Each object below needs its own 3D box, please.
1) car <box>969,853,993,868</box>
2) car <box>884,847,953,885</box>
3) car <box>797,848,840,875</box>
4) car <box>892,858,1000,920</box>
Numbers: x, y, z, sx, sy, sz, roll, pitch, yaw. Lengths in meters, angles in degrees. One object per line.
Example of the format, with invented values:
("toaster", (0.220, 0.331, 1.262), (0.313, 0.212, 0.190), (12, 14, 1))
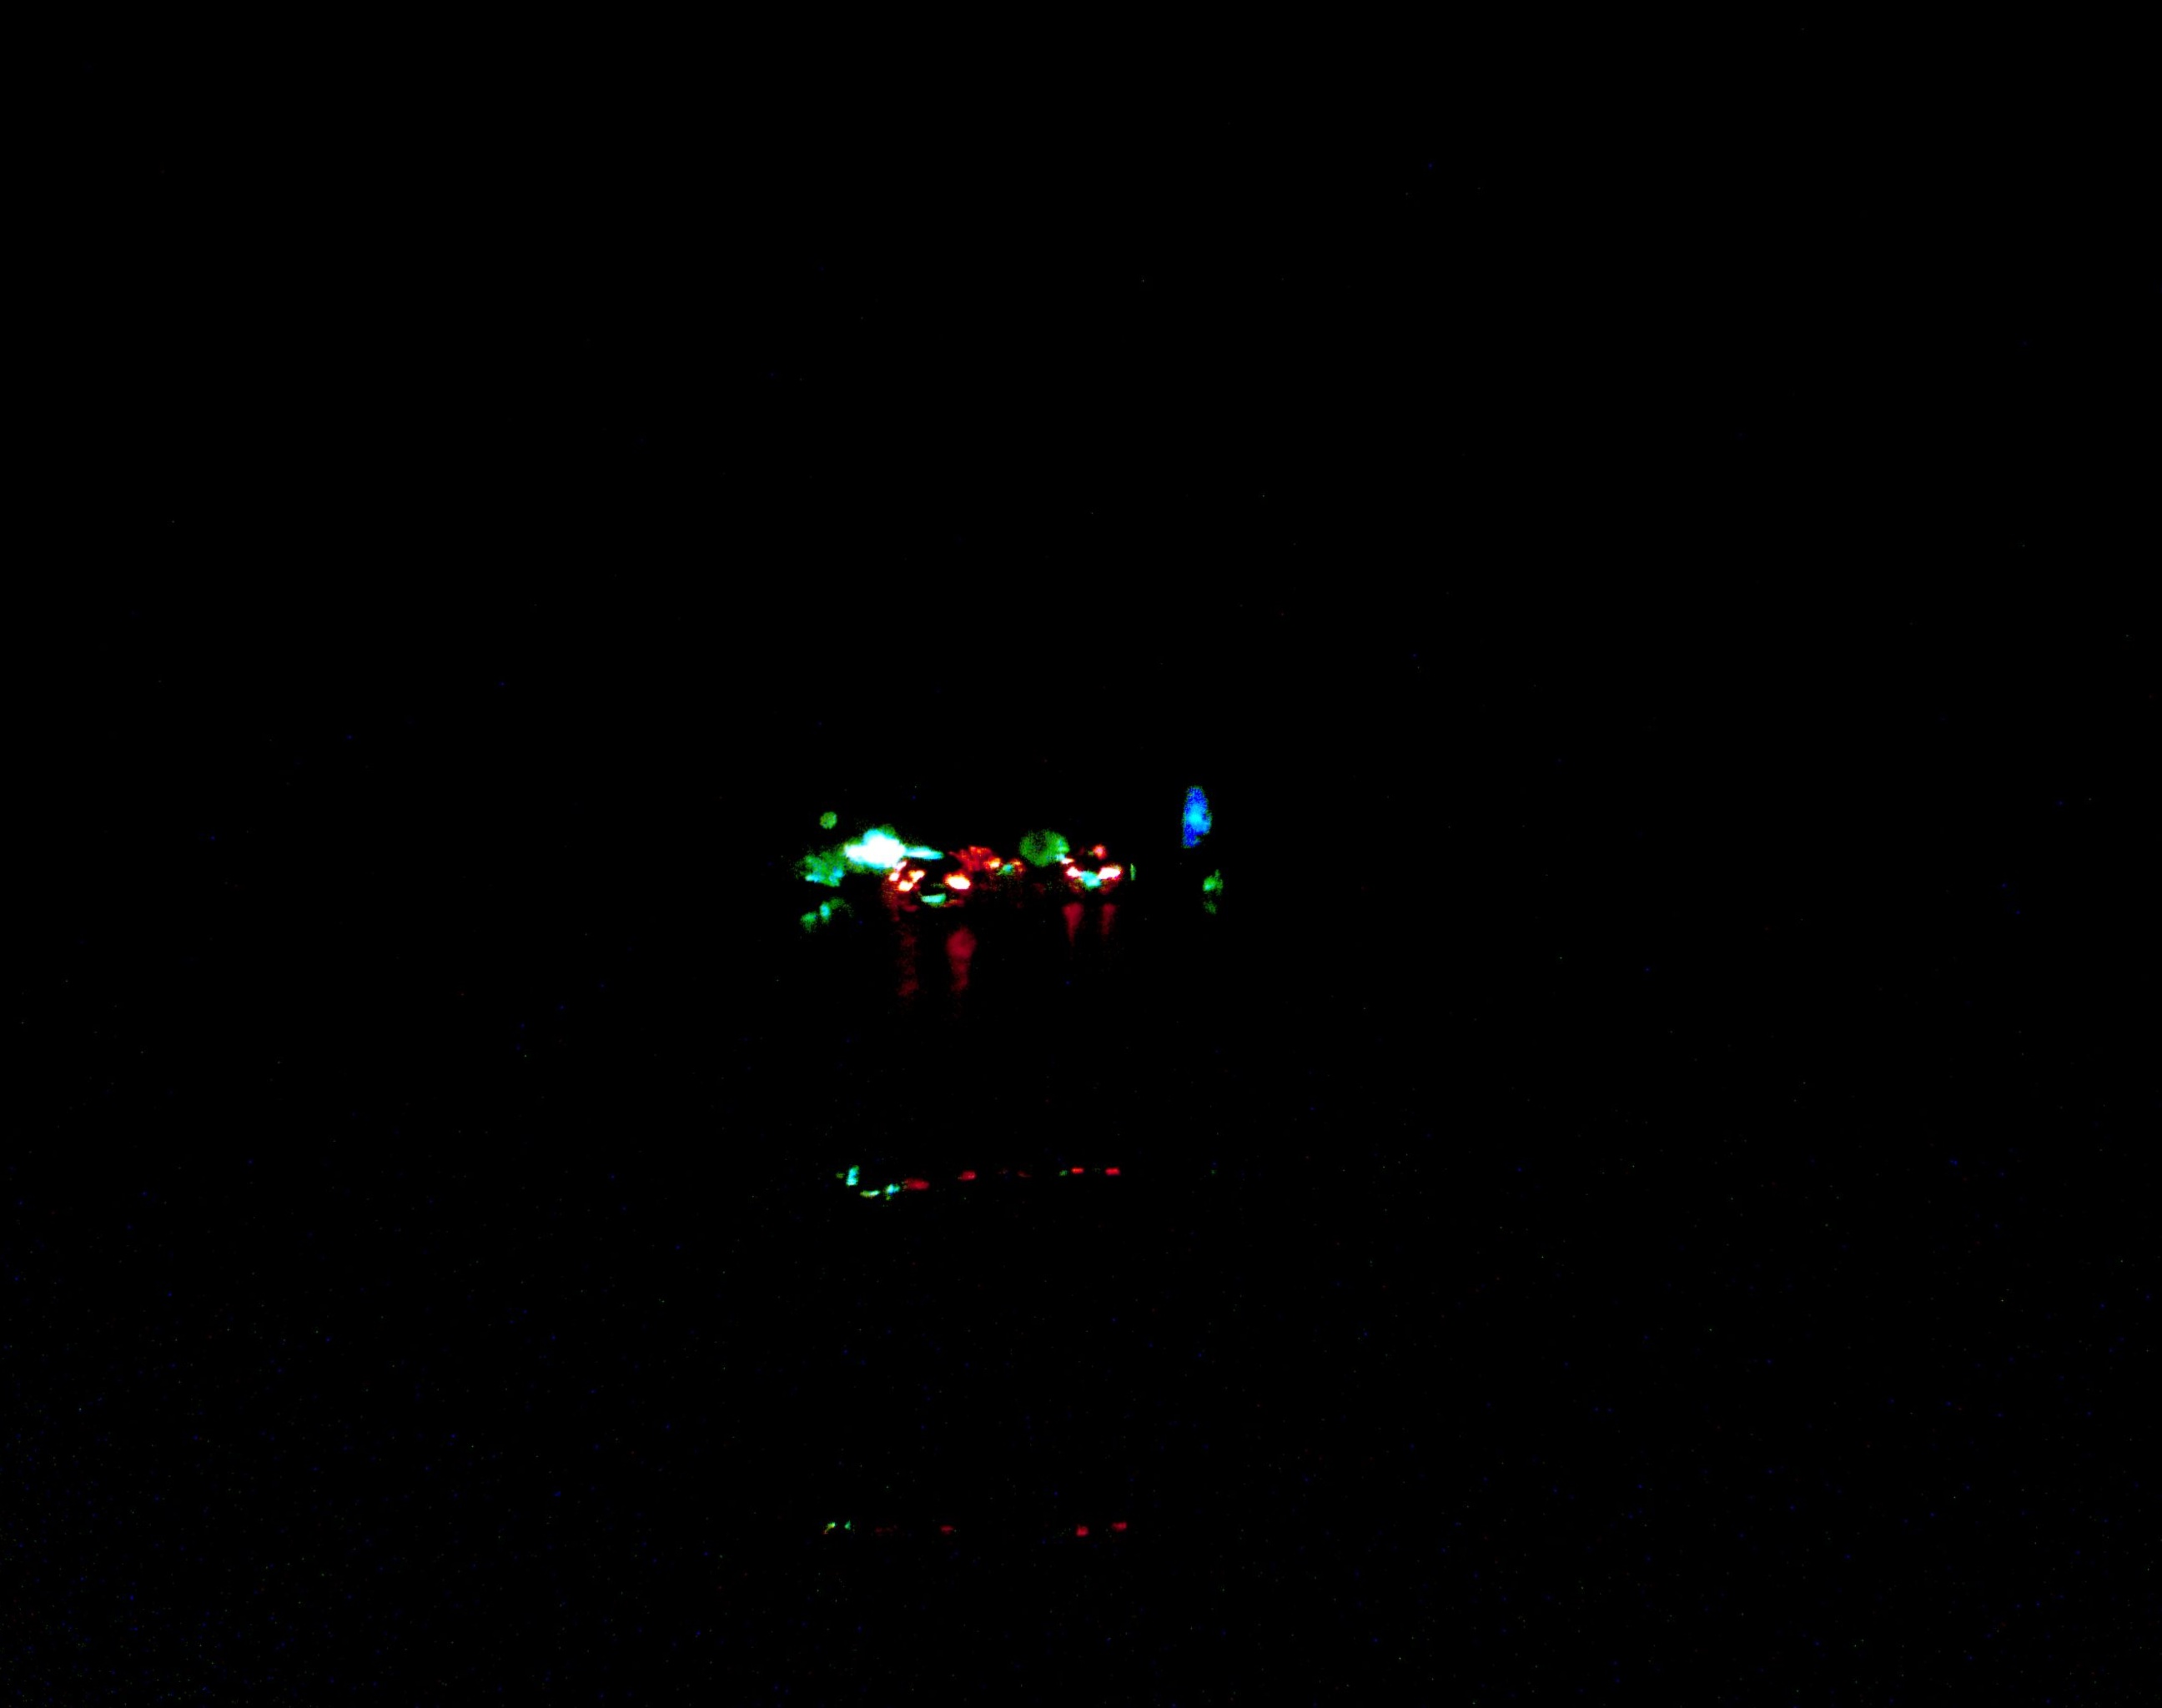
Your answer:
("car", (-10.590, 0.650, 86.383), (1.885, 1.550, 4.001), (0, -1, 1))
("car", (-6.904, 0.491, 35.024), (1.760, 1.517, 4.918), (0, 0, 3))
("car", (-20.830, 0.592, 64.829), (1.988, 2.014, 4.807), (0, -1, -2))
("car", (-3.306, 0.825, 20.716), (1.955, 1.380, 4.050), (1, -1, 1))
